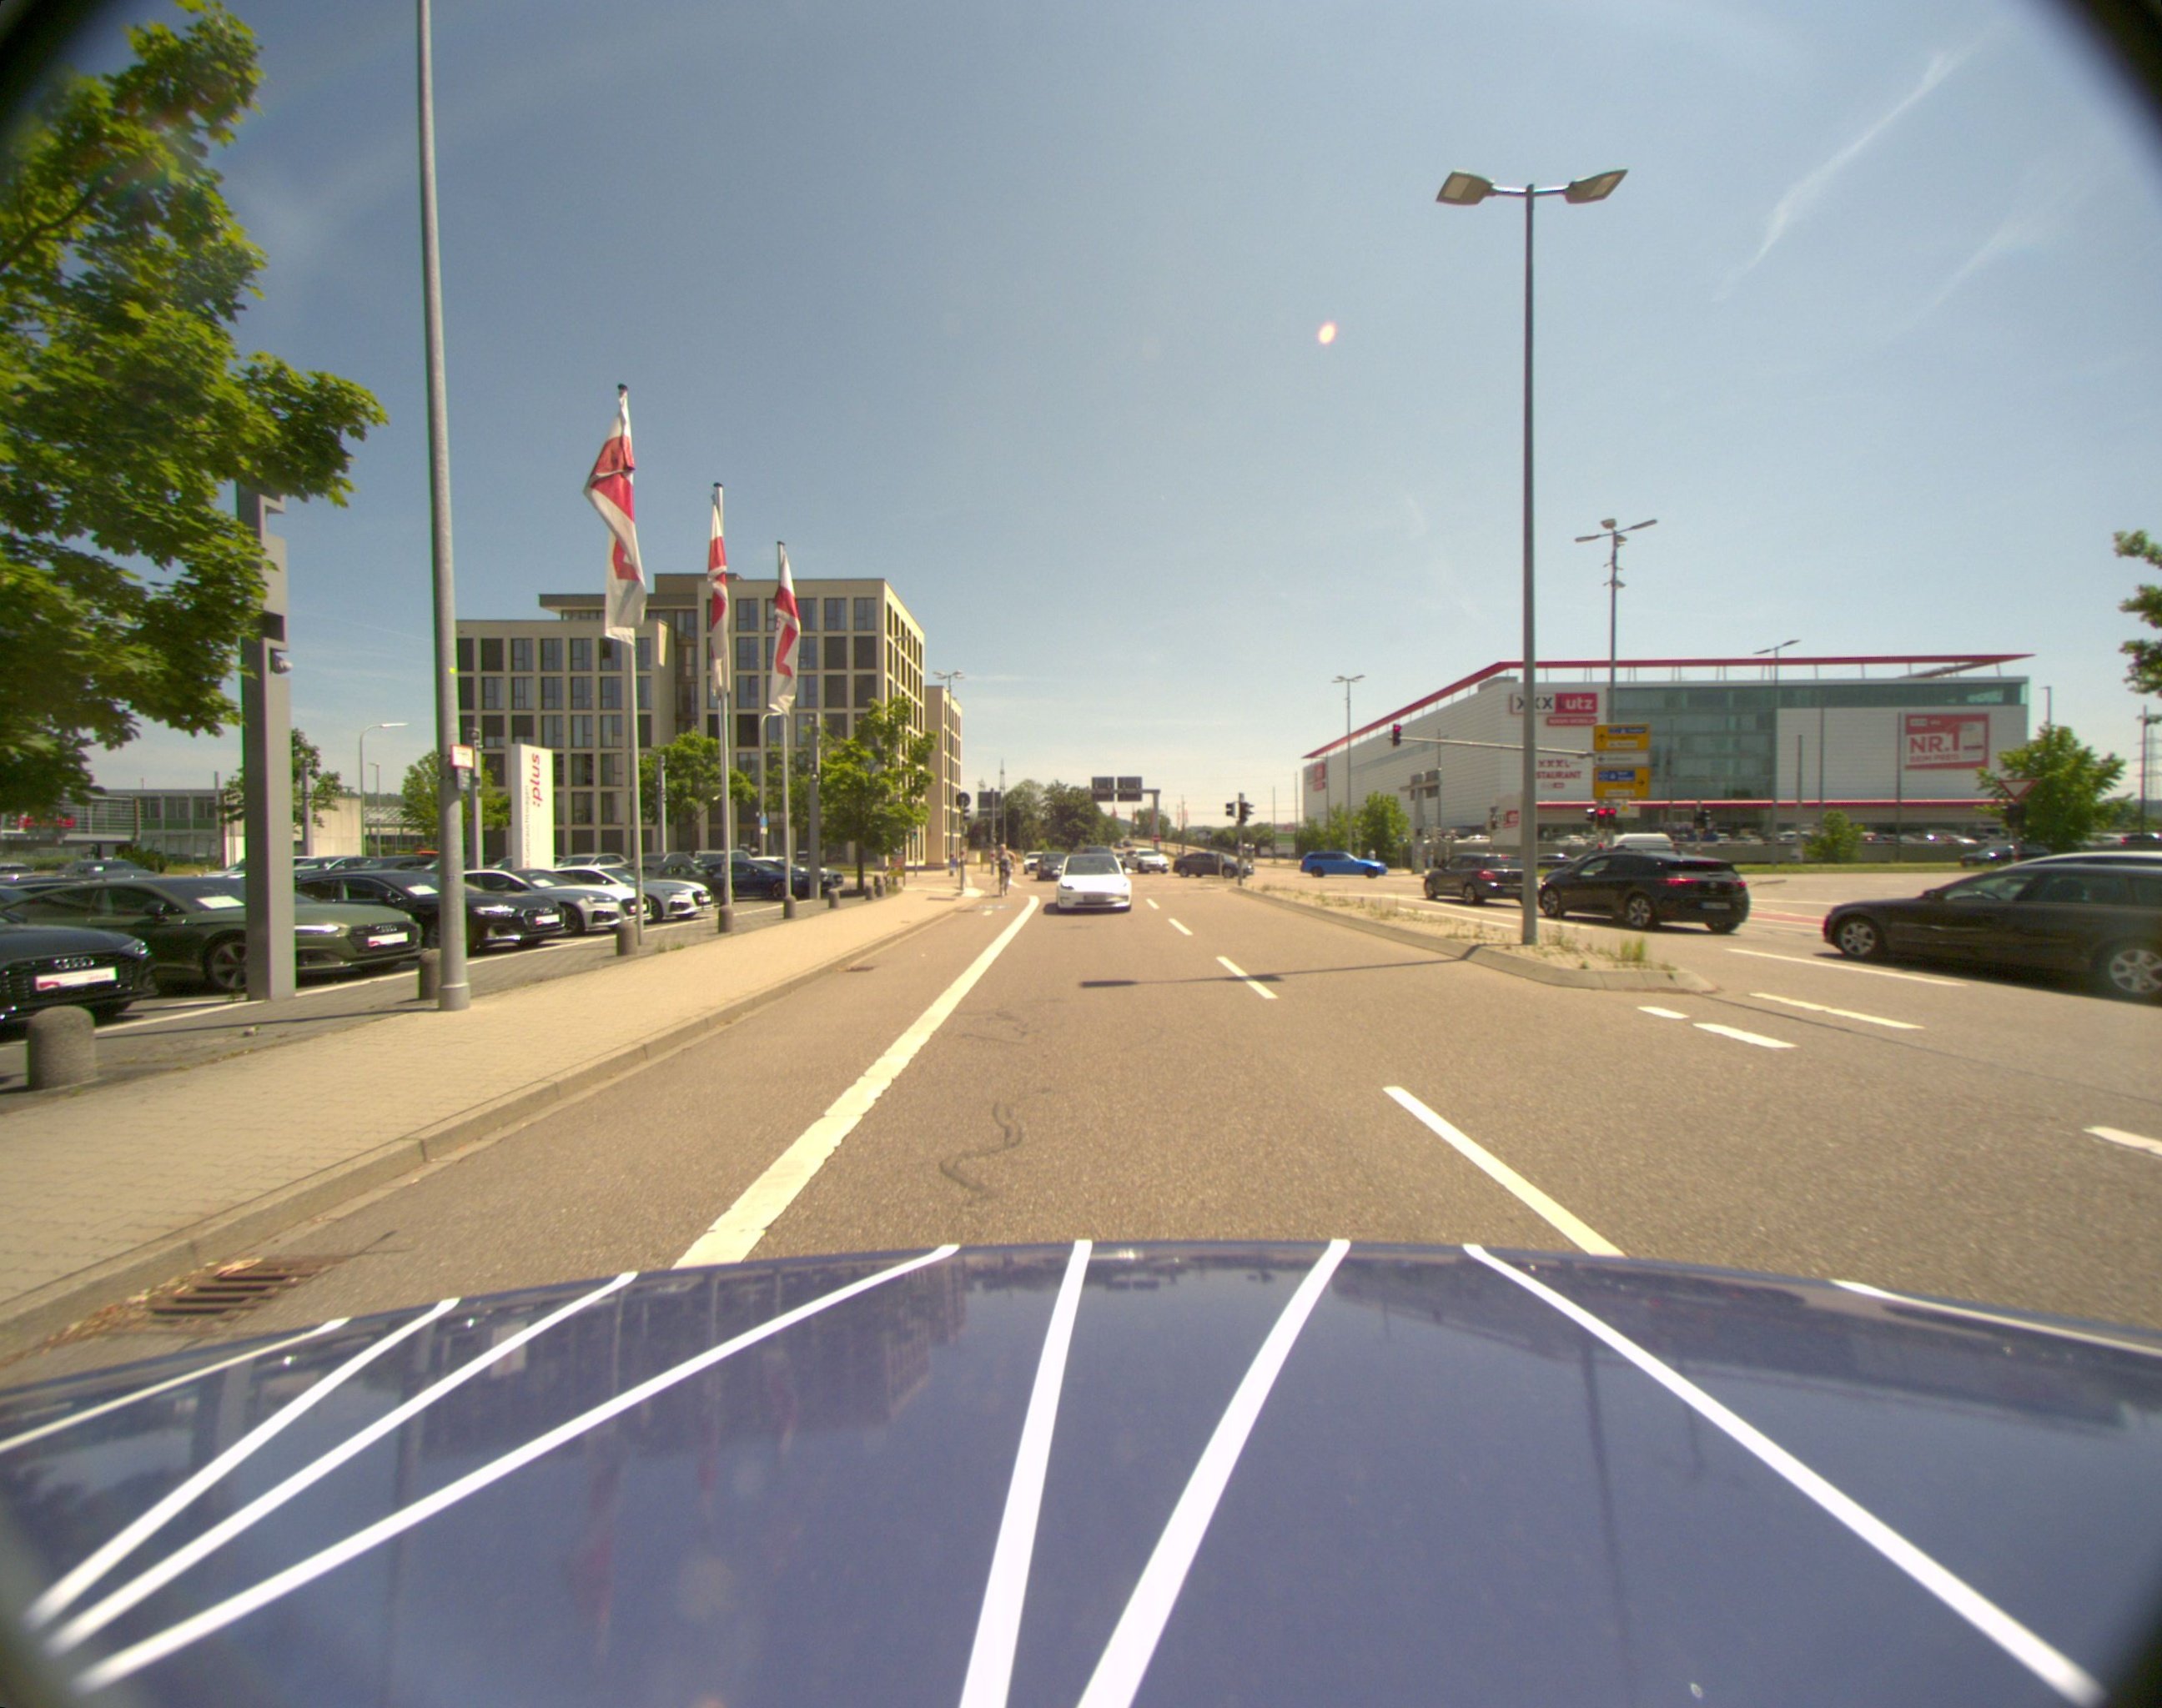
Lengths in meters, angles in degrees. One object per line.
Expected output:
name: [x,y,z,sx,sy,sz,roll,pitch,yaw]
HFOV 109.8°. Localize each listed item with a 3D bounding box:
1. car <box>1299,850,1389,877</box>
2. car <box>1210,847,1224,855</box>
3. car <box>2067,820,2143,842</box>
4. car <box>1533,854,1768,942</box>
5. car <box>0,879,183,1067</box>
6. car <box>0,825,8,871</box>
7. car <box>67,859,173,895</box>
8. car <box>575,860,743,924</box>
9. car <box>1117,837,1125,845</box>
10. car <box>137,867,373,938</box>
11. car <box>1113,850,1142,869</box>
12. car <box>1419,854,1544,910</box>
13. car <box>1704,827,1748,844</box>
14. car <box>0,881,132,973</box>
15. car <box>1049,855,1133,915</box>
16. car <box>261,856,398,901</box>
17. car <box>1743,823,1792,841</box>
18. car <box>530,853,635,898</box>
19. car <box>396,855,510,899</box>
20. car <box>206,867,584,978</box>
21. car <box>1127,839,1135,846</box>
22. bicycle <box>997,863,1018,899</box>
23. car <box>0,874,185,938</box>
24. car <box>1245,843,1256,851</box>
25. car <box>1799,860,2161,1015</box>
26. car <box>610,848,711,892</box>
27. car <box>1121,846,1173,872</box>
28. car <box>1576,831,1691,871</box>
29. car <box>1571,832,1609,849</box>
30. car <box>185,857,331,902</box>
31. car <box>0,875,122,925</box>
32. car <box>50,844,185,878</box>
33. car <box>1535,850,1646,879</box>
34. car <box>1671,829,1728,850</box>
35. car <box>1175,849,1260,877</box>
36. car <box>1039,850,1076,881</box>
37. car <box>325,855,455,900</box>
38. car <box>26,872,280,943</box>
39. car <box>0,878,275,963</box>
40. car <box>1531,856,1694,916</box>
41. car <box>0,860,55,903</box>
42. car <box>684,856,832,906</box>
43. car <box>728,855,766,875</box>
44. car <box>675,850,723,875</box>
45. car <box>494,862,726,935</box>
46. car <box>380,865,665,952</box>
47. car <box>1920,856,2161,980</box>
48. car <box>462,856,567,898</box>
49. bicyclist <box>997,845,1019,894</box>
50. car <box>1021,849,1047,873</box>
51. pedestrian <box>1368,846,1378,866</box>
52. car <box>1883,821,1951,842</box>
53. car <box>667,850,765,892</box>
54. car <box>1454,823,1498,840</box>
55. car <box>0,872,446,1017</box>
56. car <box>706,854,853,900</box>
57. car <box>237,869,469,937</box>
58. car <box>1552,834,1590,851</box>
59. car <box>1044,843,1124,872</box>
car: [14.281,0.478,41.252,4.419,1.394,1.774,0,0,25]
car: [26.488,-0.596,148.184,1.998,1.587,3.999,-1,2,0]
car: [100.124,-2.217,74.356,1.998,2.002,3.999,0,1,1]
car: [11.641,0.798,15.977,1.731,1.497,4.242,1,1,1]
car: [-10.728,1.076,6.361,4.111,1.445,1.868,-3,1,0]
car: [-48.573,-0.234,31.483,5.249,1.955,1.913,0,1,-2]
car: [-42.740,0.962,33.796,4.604,1.463,1.854,1,0,24]
car: [-11.536,0.961,21.227,1.867,1.411,4.662,-3,1,2]
car: [10.464,-3.476,198.482,1.773,2.002,3.806,-2,0,1]
car: [-23.505,1.300,21.922,1.879,1.617,4.308,-3,1,3]
car: [3.754,0.414,60.228,1.768,1.414,3.902,-2,0,11]
car: [11.407,0.748,21.958,1.648,1.381,3.715,1,1,1]
car: [78.862,-2.253,92.953,1.998,2.002,4.000,0,1,1]
car: [-21.802,1.479,14.971,3.995,1.612,1.656,-3,1,0]
car: [0.180,0.774,21.402,1.824,1.428,4.281,-2,0,-6]
car: [-31.442,0.972,31.971,1.850,1.645,3.996,-3,1,-4]
car: [78.490,-2.476,86.895,1.998,2.002,4.000,0,1,1]
car: [-20.615,0.838,31.639,1.850,1.645,3.996,-3,1,-4]
car: [-26.083,0.911,31.750,1.633,1.645,3.909,-1,1,-4]
car: [-10.684,1.025,12.100,4.236,1.382,1.868,-3,1,0]
car: [13.365,-3.055,203.086,1.998,1.893,4.000,-2,0,1]
bicycle: [-2.491,0.902,25.895,0.629,1.126,1.894,-1,1,-3]
car: [-29.104,1.424,21.849,1.856,1.531,4.000,0,1,2]
car: [46.826,-2.008,210.152,2.192,2.270,4.814,0,0,3]
car: [11.628,0.871,9.017,1.731,1.437,4.719,1,1,1]
car: [-17.789,0.641,32.378,1.848,1.645,3.998,-3,1,3]
car: [4.339,0.329,50.558,1.772,1.631,4.484,-2,0,-18]
car: [31.845,-0.158,43.924,5.043,2.171,2.001,0,0,5]
car: [60.985,-1.590,91.087,1.782,2.002,4.135,0,1,1]
car: [-34.263,1.018,31.821,1.850,1.645,3.996,-3,1,-4]
car: [-31.467,1.347,22.312,1.677,1.339,3.820,0,1,2]
car: [-48.549,0.343,38.351,4.584,1.684,1.914,0,1,3]
car: [25.710,0.521,38.441,4.462,1.396,1.677,0,0,2]
car: [61.238,-1.410,75.334,1.999,2.002,4.327,0,1,-4]
car: [7.188,0.436,40.232,4.077,1.374,1.774,1,1,41]
car: [-1.194,0.554,39.755,1.556,1.528,3.822,0,0,4]
car: [-28.707,0.918,31.749,1.850,1.645,3.996,-3,1,-4]
car: [-26.704,1.456,22.162,1.879,1.617,4.344,-3,1,3]
car: [-21.657,1.477,17.557,3.995,1.589,1.850,-3,1,0]
car: [14.490,0.802,21.030,1.665,1.416,4.037,0,1,0]
car: [-42.277,1.046,29.660,3.792,1.496,1.690,0,3,22]
car: [-10.732,0.887,25.477,4.106,1.382,1.868,-3,1,0]
car: [-26.205,0.865,59.606,1.703,1.424,3.988,-2,2,-39]
car: [-29.919,0.644,59.475,1.924,1.875,4.919,-1,0,-44]
car: [-10.708,0.990,17.503,4.106,1.356,1.874,-3,1,0]
car: [-10.729,1.016,14.848,4.109,1.341,1.868,-3,1,0]
car: [14.860,0.845,10.695,1.731,1.535,3.914,0,1,0]
car: [-23.390,0.933,31.545,1.641,1.606,3.817,-1,-1,-4]
bicyclist: [-2.488,0.523,25.910,0.629,1.596,0.825,-2,1,-3]
car: [-3.489,0.495,56.561,1.799,1.728,3.820,0,0,-2]
pedestrian: [25.072,0.167,65.295,0.604,1.773,0.827,0,1,5]
car: [83.269,-2.188,75.785,1.998,2.002,4.329,0,1,1]
car: [-15.210,0.654,32.004,1.873,1.549,4.502,0,2,1]
car: [47.582,-2.668,91.514,4.470,2.002,1.679,0,1,1]
car: [-10.743,1.051,9.399,4.111,1.397,1.868,-3,1,0]
car: [-10.989,0.810,27.926,4.604,1.382,1.868,-3,1,0]
car: [-20.560,1.301,21.831,1.879,1.507,4.716,-3,1,3]
car: [58.713,-1.376,91.130,1.782,2.002,4.233,0,1,1]
car: [0.163,0.232,49.260,5.107,1.810,2.004,0,0,42]
